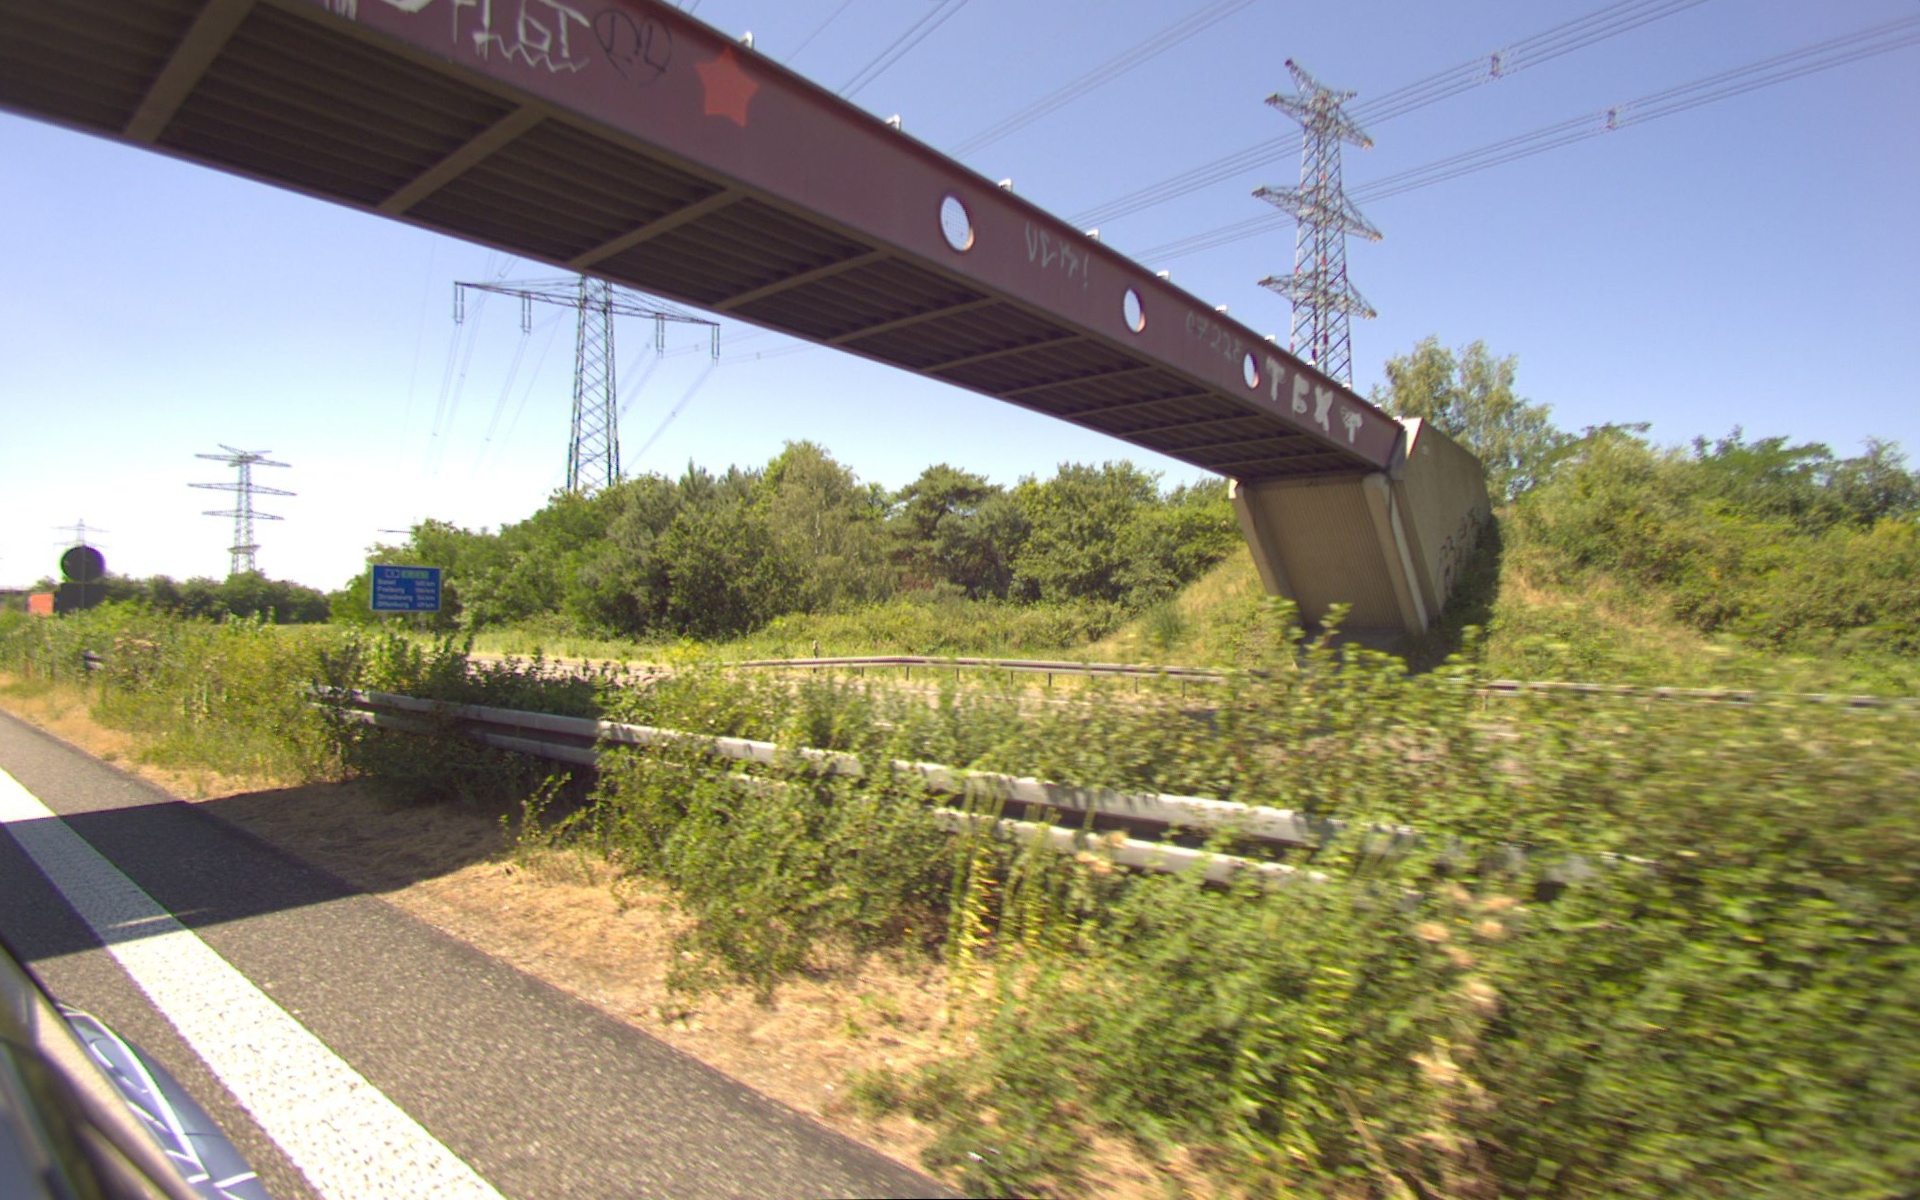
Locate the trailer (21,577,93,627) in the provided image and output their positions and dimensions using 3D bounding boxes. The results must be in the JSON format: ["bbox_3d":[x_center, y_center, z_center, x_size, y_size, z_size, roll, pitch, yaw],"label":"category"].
[{"bbox_3d":[-90.236,0.345,101.030,14.158,4.441,3.309,-1,-7,41],"label":"trailer"}]
